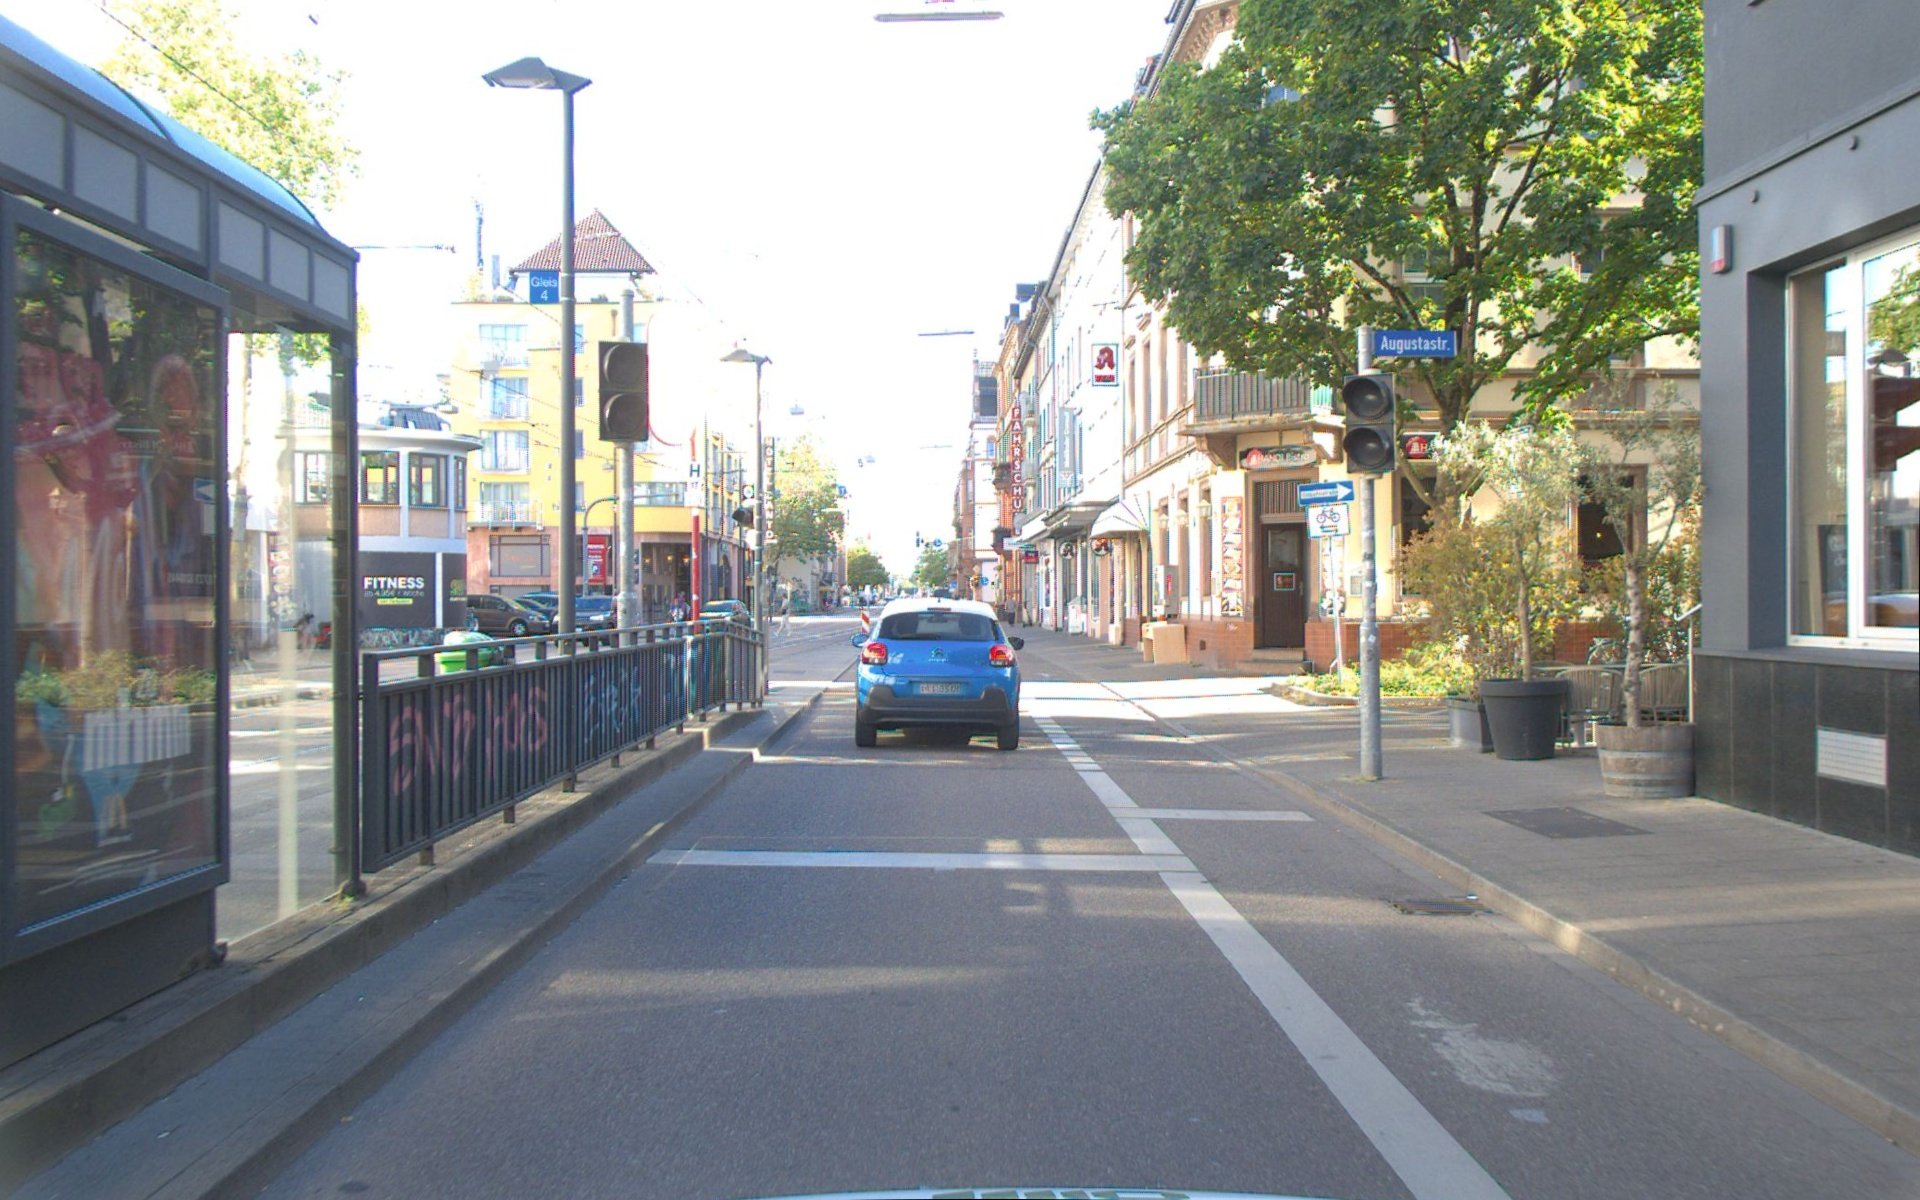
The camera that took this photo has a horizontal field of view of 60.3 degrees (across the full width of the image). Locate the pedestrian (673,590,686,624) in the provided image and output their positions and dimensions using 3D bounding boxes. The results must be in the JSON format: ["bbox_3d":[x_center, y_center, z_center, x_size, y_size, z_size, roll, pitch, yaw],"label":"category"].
[{"bbox_3d":[-15.660,0.415,92.389,0.683,1.890,0.838,0,0,-13],"label":"pedestrian"}]

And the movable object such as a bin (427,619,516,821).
[{"bbox_3d":[-2.541,0.612,8.617,0.339,1.025,0.404,0,0,0],"label":"movable object such as a bin"}]

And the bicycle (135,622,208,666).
[{"bbox_3d":[-17.763,0.991,37.276,0.384,0.957,1.490,0,0,34],"label":"bicycle"}]

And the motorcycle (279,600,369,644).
[{"bbox_3d":[-19.470,0.664,50.639,2.463,1.311,0.667,0,0,-4],"label":"motorcycle"}]

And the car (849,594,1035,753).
[{"bbox_3d":[-0.201,0.707,17.732,1.745,1.476,3.653,2,0,-1],"label":"car"}]

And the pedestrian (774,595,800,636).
[{"bbox_3d":[-7.176,0.645,68.606,0.829,1.683,0.691,0,0,-29],"label":"pedestrian"}]

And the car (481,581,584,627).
[{"bbox_3d":[-18.048,0.164,70.015,3.909,1.880,1.956,0,0,-5],"label":"car"}]

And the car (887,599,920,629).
[{"bbox_3d":[-3.535,0.868,103.731,1.953,1.773,3.999,2,-1,-1],"label":"car"}]

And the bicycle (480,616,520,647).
[{"bbox_3d":[-16.275,1.108,58.566,0.665,1.020,2.686,0,0,0],"label":"bicycle"}]

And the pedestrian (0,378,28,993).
[{"bbox_3d":[-3.133,0.248,4.991,0.557,1.781,0.712,0,0,-30],"label":"pedestrian"}]

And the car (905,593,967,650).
[{"bbox_3d":[-0.812,0.746,55.028,1.953,1.773,3.999,2,-1,-1],"label":"car"}]

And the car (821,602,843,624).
[{"bbox_3d":[-12.318,1.269,159.440,1.953,2.049,3.998,2,-1,-2],"label":"car"}]

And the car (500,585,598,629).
[{"bbox_3d":[-18.087,0.304,72.925,3.909,1.880,1.956,0,0,-5],"label":"car"}]

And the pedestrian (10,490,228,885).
[{"bbox_3d":[-3.502,0.353,6.924,0.608,1.586,0.568,0,-1,-1],"label":"pedestrian"}]

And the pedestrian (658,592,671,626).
[{"bbox_3d":[-16.517,0.487,92.381,0.683,1.862,0.838,0,0,-13],"label":"pedestrian"}]

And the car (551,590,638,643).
[{"bbox_3d":[-12.096,0.513,54.968,1.716,1.643,4.828,-1,0,1],"label":"car"}]

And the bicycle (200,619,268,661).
[{"bbox_3d":[-16.925,0.918,38.566,0.384,0.957,1.490,0,0,34],"label":"bicycle"}]

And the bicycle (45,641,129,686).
[{"bbox_3d":[-16.460,1.191,31.242,0.554,0.770,1.937,0,0,0],"label":"bicycle"}]

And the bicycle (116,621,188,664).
[{"bbox_3d":[-18.441,0.964,37.752,0.384,0.957,1.490,0,0,34],"label":"bicycle"}]

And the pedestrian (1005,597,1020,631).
[{"bbox_3d":[2.594,0.685,82.159,0.679,1.680,0.680,0,0,-2],"label":"pedestrian"}]

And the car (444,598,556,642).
[{"bbox_3d":[-18.049,0.772,64.970,3.909,1.704,1.956,0,0,-5],"label":"car"}]

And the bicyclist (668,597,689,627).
[{"bbox_3d":[-12.469,0.524,73.176,0.715,1.314,1.180,0,0,0],"label":"bicyclist"}]

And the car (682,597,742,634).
[{"bbox_3d":[-10.581,0.634,70.814,1.911,1.512,4.000,-1,0,0],"label":"car"}]

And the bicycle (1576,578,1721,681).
[{"bbox_3d":[9.702,0.399,23.336,1.810,1.316,0.346,3,4,33],"label":"bicycle"}]

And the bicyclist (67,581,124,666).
[{"bbox_3d":[-16.396,0.445,31.395,0.658,1.584,0.778,0,0,0],"label":"bicyclist"}]
